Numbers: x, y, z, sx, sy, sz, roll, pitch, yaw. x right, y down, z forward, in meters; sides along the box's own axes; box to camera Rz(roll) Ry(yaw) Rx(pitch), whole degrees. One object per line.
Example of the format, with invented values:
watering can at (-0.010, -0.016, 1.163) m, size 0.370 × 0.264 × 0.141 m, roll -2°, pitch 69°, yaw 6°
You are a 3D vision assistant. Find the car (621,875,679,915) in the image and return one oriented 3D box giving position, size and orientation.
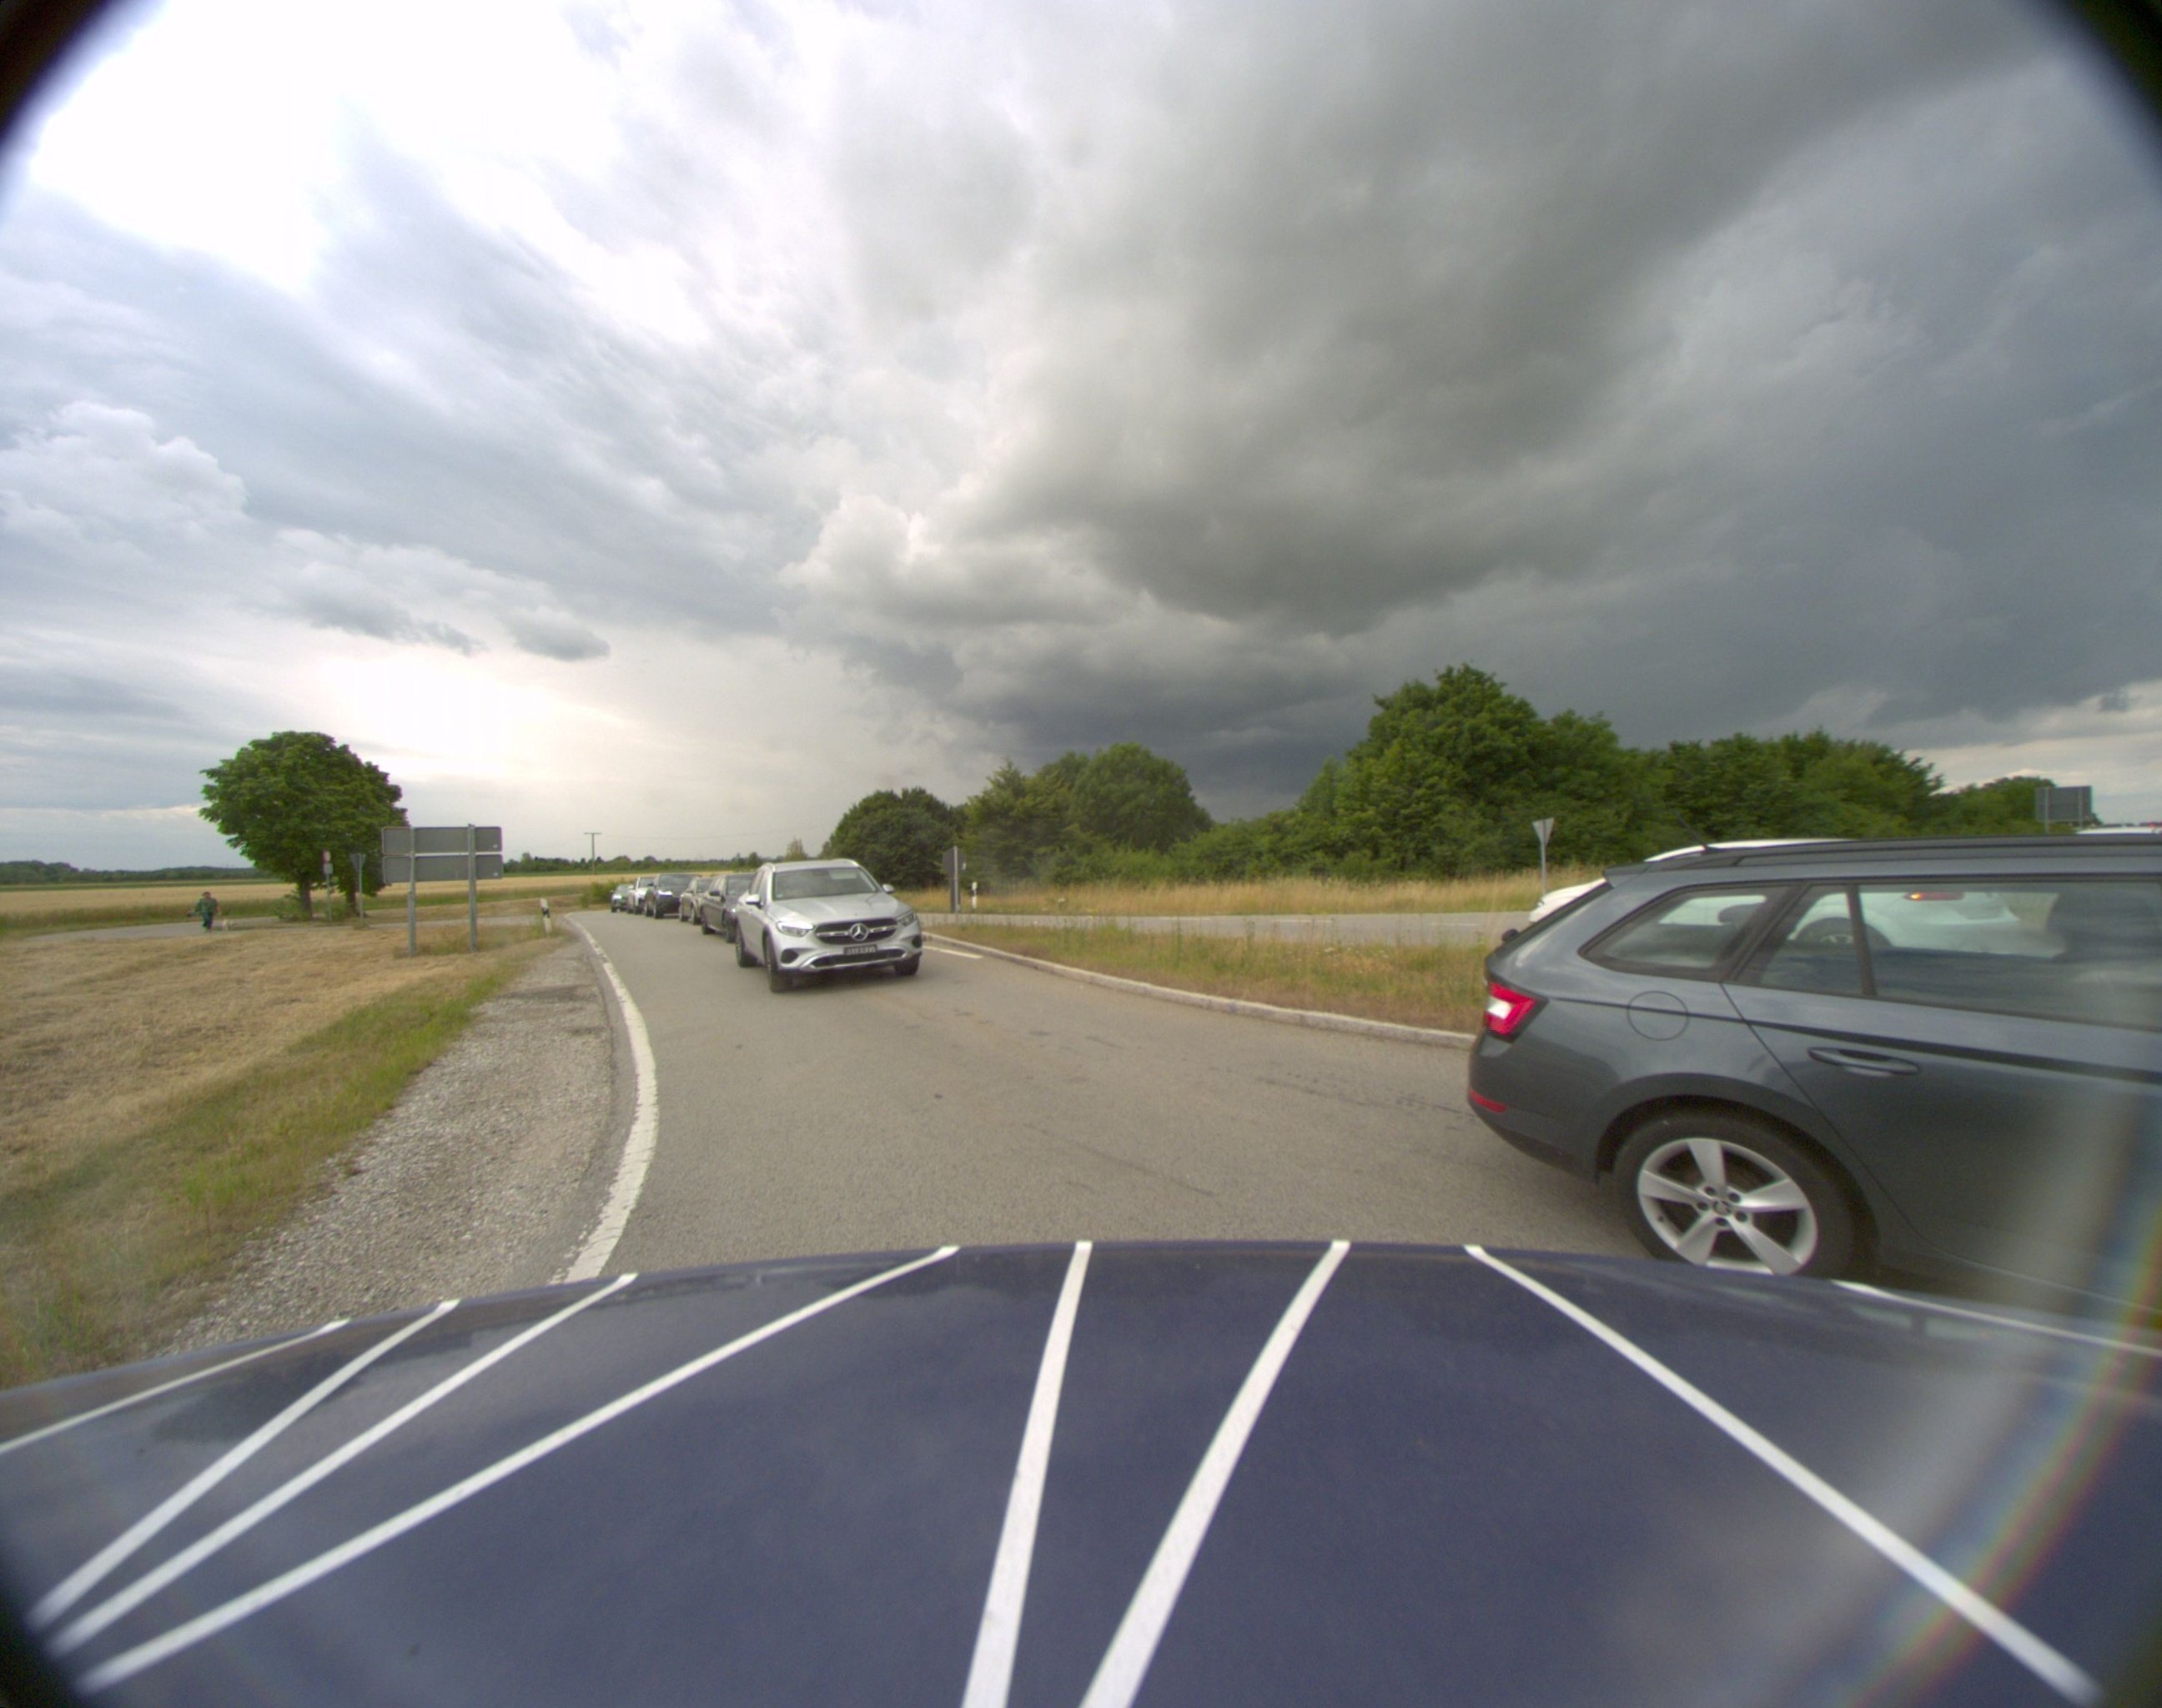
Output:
car at (-19.029, 1.754, 33.447) m, size 1.725 × 1.486 × 4.627 m, roll -4°, pitch 2°, yaw -35°

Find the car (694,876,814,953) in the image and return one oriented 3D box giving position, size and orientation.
car at (-7.616, 1.260, 17.437) m, size 1.725 × 1.345 × 4.683 m, roll -4°, pitch 2°, yaw -32°

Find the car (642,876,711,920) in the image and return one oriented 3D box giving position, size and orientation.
car at (-15.175, 1.597, 28.401) m, size 1.725 × 1.345 × 4.203 m, roll -4°, pitch 2°, yaw -35°

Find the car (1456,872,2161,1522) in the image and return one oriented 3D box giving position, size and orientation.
car at (3.487, 0.811, 2.017) m, size 4.105 × 1.439 × 1.722 m, roll -1°, pitch 1°, yaw 45°

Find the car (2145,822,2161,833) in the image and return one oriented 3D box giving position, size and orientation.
car at (157.225, -3.919, 110.998) m, size 4.008 × 1.543 × 1.793 m, roll -1°, pitch 0°, yaw -39°

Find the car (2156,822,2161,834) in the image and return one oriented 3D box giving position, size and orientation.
car at (141.646, -3.439, 98.784) m, size 4.008 × 1.543 × 1.793 m, roll -1°, pitch 0°, yaw -40°

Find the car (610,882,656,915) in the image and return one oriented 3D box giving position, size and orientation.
car at (-23.859, 2.314, 40.403) m, size 1.725 × 1.486 × 4.203 m, roll -4°, pitch 2°, yaw -35°

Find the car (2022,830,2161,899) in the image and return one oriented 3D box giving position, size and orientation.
car at (23.917, 0.197, 17.657) m, size 4.399 × 1.443 × 1.768 m, roll -1°, pitch 0°, yaw -28°

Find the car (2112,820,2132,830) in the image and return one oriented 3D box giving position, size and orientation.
car at (199.440, -5.568, 145.574) m, size 4.512 × 1.814 × 1.995 m, roll -1°, pitch 0°, yaw -39°

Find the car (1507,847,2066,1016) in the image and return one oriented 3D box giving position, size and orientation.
car at (7.455, 0.629, 8.684) m, size 1.822 × 1.400 × 4.304 m, roll -1°, pitch 1°, yaw -23°

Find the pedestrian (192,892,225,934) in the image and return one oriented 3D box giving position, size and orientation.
pedestrian at (-34.361, 2.307, 29.929) m, size 0.942 × 1.602 × 0.775 m, roll -1°, pitch 0°, yaw 37°

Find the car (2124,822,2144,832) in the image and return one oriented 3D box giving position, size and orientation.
car at (181.317, -4.629, 130.856) m, size 4.008 × 1.543 × 1.793 m, roll -1°, pitch 0°, yaw -39°

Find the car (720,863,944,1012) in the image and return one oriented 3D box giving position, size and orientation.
car at (-3.802, 0.978, 11.006) m, size 2.000 × 1.577 × 4.383 m, roll -4°, pitch 2°, yaw -32°

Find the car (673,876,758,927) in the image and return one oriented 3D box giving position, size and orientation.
car at (-11.498, 1.413, 23.763) m, size 1.725 × 1.345 × 4.203 m, roll -1°, pitch 0°, yaw -35°
